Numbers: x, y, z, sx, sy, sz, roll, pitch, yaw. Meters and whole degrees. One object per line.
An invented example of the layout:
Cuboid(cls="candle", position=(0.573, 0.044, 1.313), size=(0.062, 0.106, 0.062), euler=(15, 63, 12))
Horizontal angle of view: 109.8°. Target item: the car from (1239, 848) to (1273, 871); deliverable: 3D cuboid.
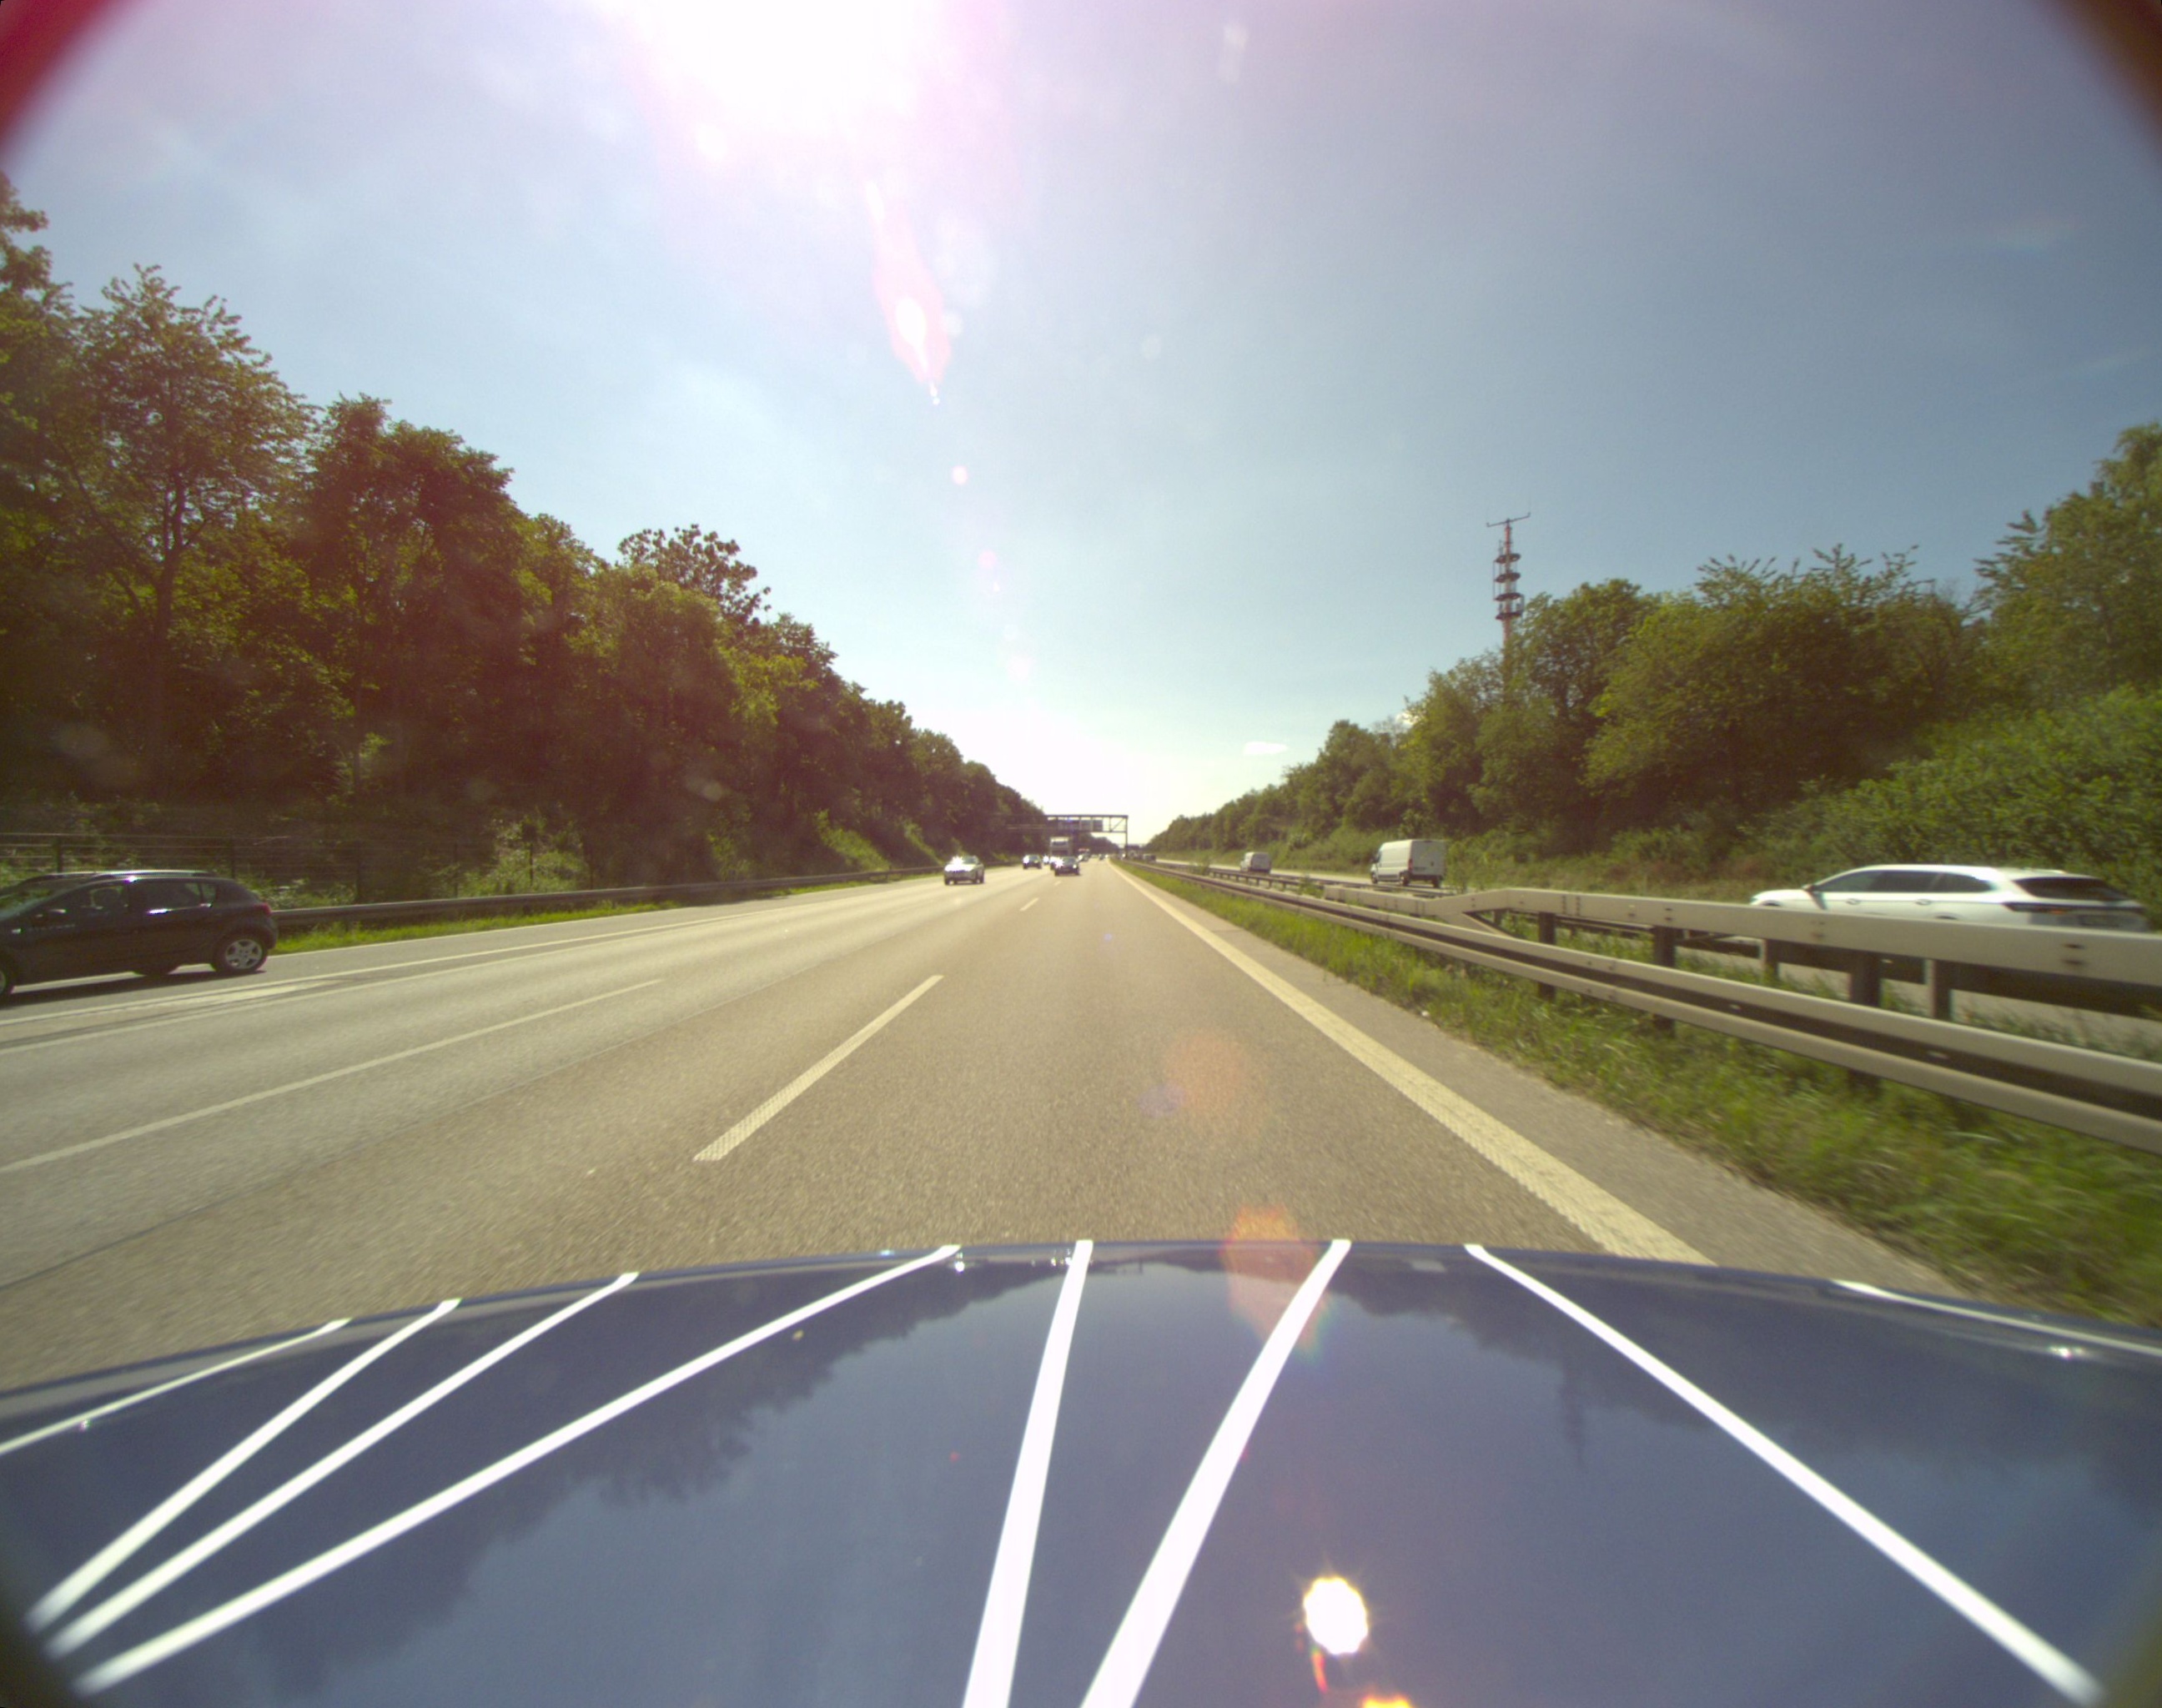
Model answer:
Cuboid(cls="car", position=(14.660, 0.428, 63.857), size=(1.750, 1.819, 5.168), euler=(1, 0, 1))

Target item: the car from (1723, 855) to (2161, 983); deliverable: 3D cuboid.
Cuboid(cls="car", position=(13.724, 0.849, 12.486), size=(1.883, 1.601, 5.309), euler=(1, 0, 1))

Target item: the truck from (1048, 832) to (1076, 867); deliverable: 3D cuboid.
Cuboid(cls="truck", position=(-2.031, -0.462, 82.665), size=(2.676, 3.661, 6.484), euler=(-1, 0, 1))

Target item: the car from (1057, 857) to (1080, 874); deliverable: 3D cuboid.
Cuboid(cls="car", position=(-0.920, 0.855, 57.261), size=(1.537, 1.265, 2.770), euler=(-1, 0, 1))

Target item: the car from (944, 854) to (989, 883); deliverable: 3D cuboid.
Cuboid(cls="car", position=(-6.634, 0.826, 44.522), size=(1.848, 1.559, 4.036), euler=(-2, 0, 2))

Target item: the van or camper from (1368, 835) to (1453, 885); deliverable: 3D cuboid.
Cuboid(cls="van or camper", position=(18.183, 0.282, 42.326), size=(2.043, 2.545, 6.198), euler=(1, 0, 1))

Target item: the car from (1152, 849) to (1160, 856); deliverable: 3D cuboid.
Cuboid(cls="car", position=(18.900, -0.406, 192.395), size=(1.661, 1.607, 3.914), euler=(1, 1, 2))

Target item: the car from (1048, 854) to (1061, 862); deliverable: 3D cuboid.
Cuboid(cls="car", position=(-4.501, 0.641, 127.449), size=(1.916, 1.390, 4.138), euler=(-1, 0, 1))

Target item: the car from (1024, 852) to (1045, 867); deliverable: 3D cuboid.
Cuboid(cls="car", position=(-5.474, 0.624, 90.521), size=(1.924, 1.659, 4.687), euler=(-2, 0, 3))

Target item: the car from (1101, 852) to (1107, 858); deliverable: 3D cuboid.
Cuboid(cls="car", position=(5.816, 0.256, 194.496), size=(1.591, 1.291, 3.383), euler=(0, 0, 2))

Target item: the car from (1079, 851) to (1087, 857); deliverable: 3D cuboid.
Cuboid(cls="car", position=(0.444, 0.077, 168.030), size=(1.831, 1.346, 3.679), euler=(0, 0, 2))

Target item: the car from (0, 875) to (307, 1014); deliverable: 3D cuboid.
Cuboid(cls="car", position=(-13.648, 1.156, 10.230), size=(1.768, 1.559, 4.260), euler=(-2, 0, 8))

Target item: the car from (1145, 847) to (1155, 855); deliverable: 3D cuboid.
Cuboid(cls="car", position=(13.742, -0.603, 151.597), size=(1.816, 1.607, 3.913), euler=(1, 1, 1))
